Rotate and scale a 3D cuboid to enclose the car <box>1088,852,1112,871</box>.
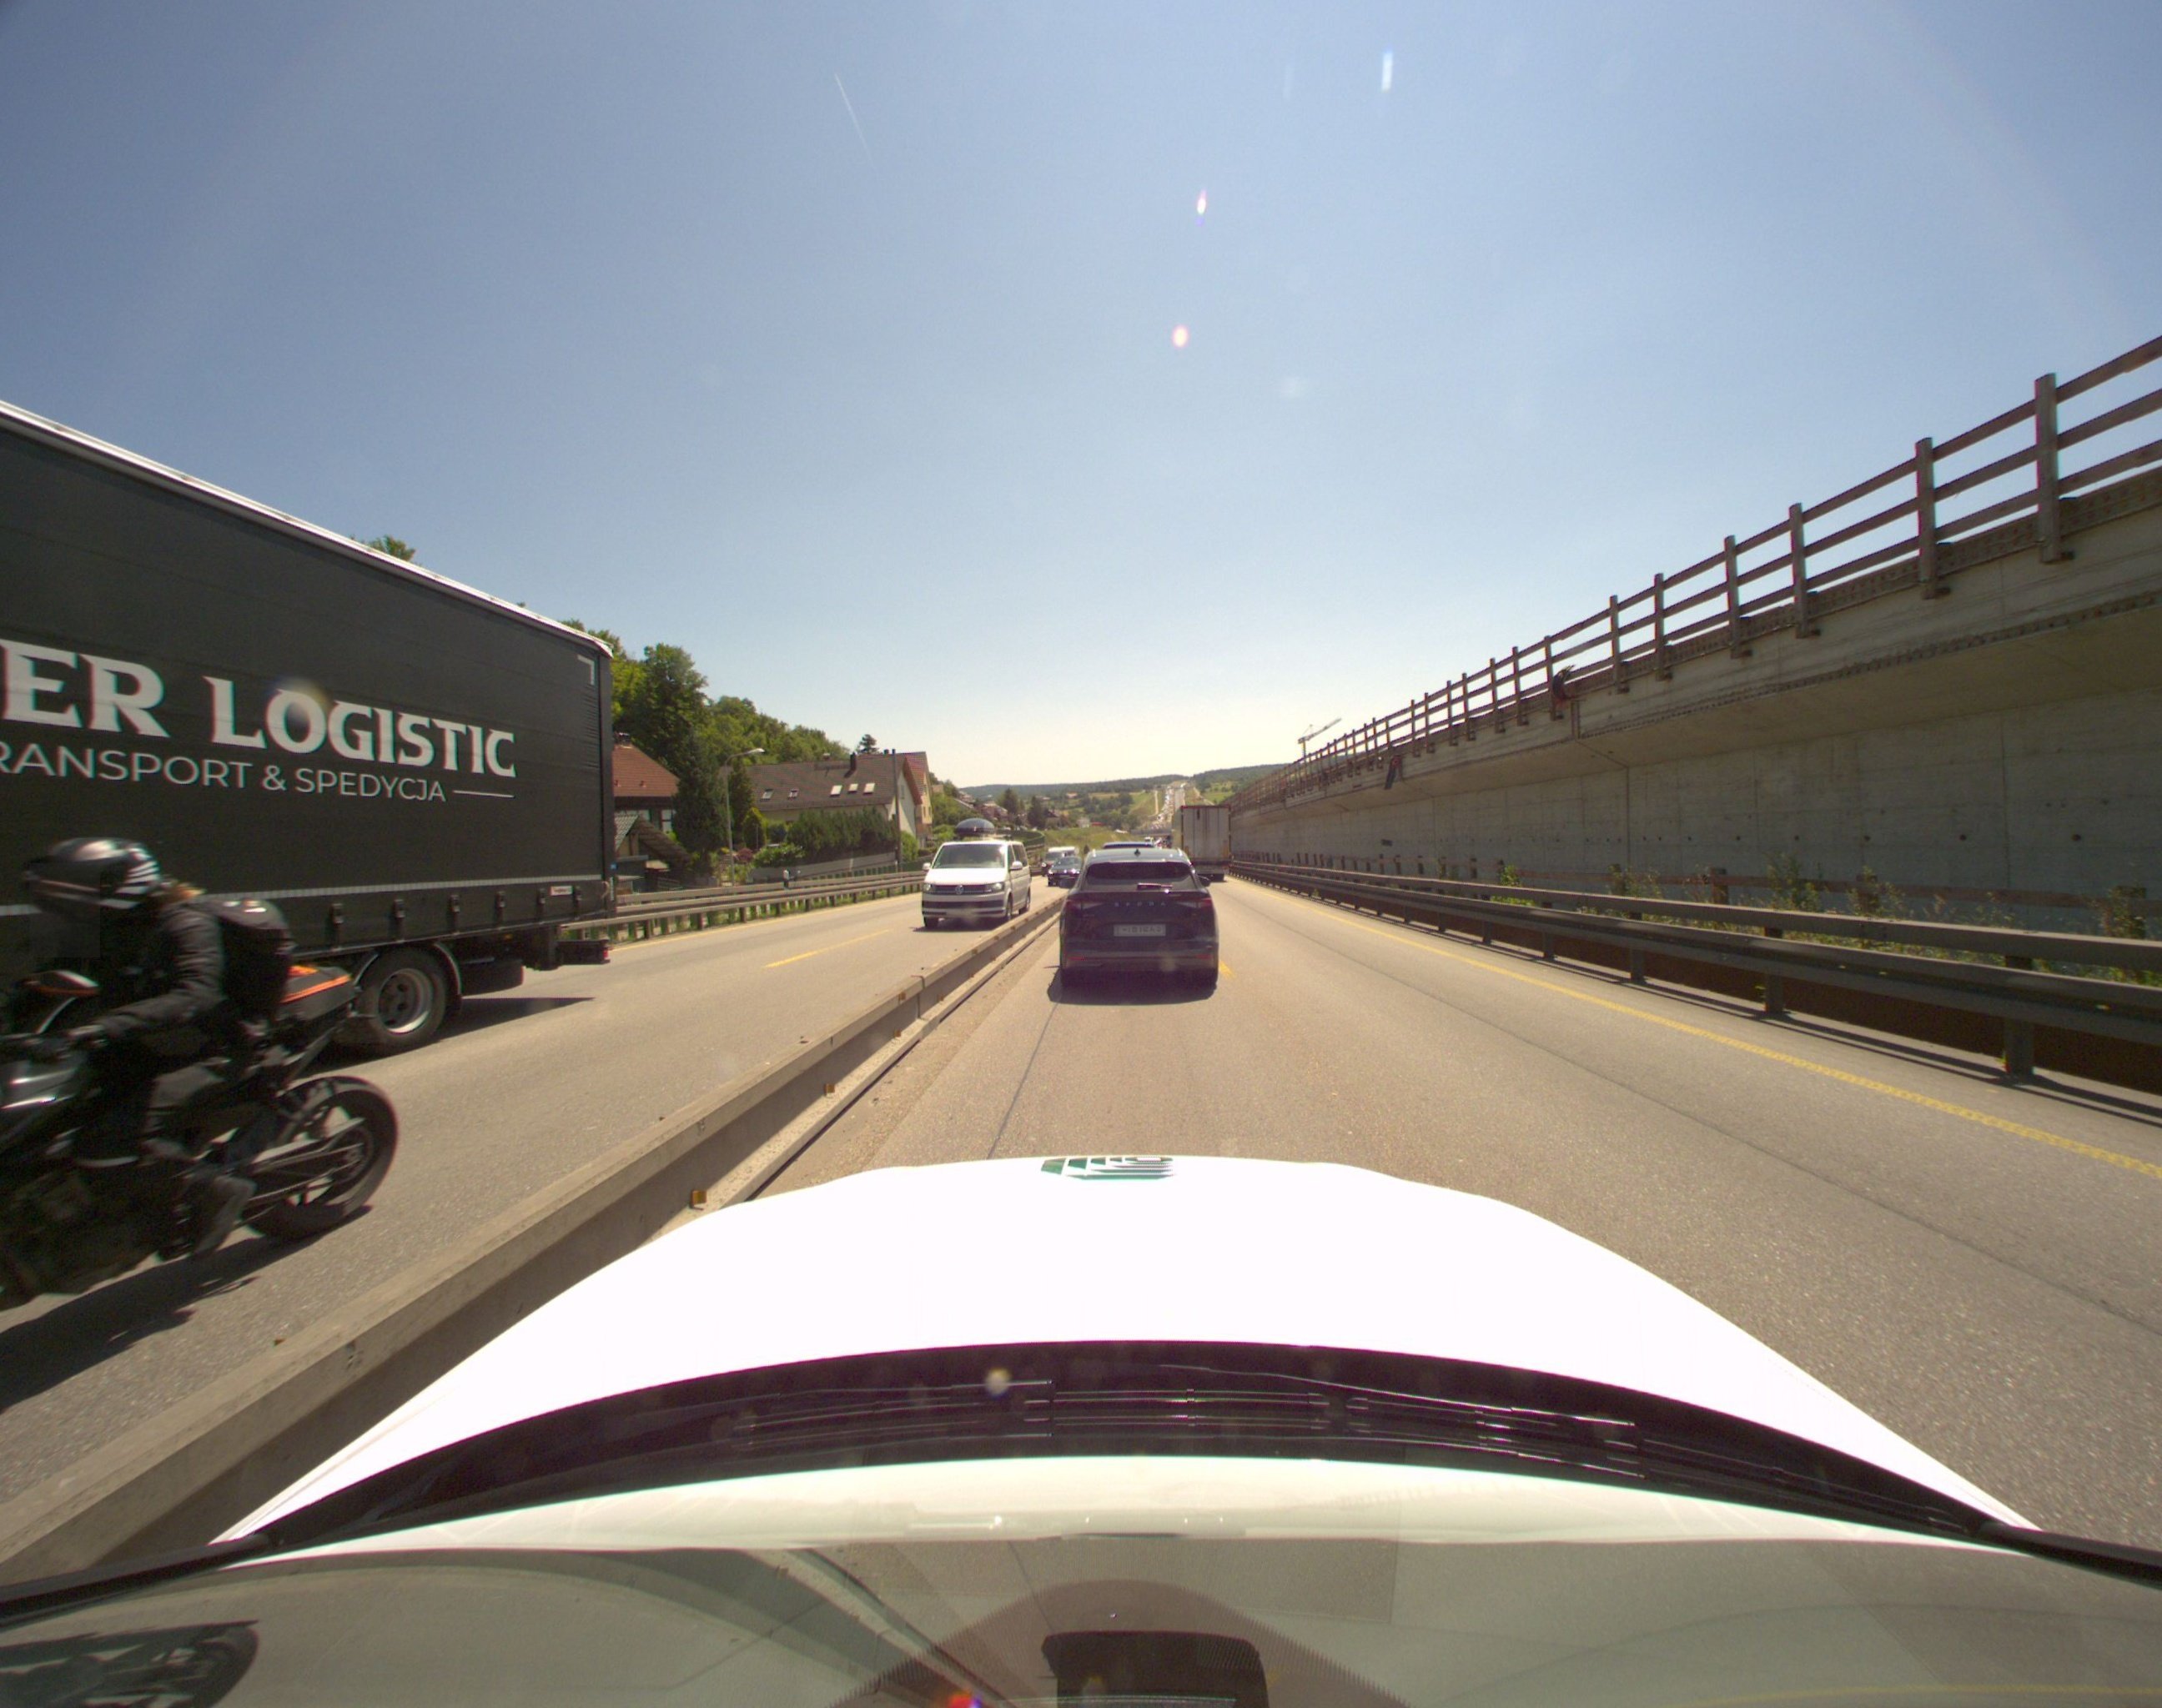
[{"bbox_3d":[1.624,0.650,69.052,1.864,1.586,4.483,-1,-1,3],"label":"car"}]

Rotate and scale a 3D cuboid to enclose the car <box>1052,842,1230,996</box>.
[{"bbox_3d":[0.561,0.712,10.498,1.838,1.586,3.903,-1,-1,-3],"label":"car"}]

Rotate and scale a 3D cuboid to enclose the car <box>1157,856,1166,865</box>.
[{"bbox_3d":[15.116,1.262,153.416,1.692,1.728,3.842,-1,-1,6],"label":"car"}]

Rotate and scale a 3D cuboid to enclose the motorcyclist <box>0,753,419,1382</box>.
[{"bbox_3d":[-3.204,0.634,2.904,0.850,1.855,0.984,-1,0,2],"label":"motorcyclist"}]

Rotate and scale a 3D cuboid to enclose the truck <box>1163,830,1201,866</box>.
[{"bbox_3d":[9.853,-0.486,80.732,3.180,3.191,12.824,-1,-1,5],"label":"truck"}]

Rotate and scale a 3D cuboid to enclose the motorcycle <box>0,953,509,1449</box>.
[{"bbox_3d":[-3.201,1.026,2.996,0.783,1.080,1.913,-1,0,2],"label":"motorcycle"}]

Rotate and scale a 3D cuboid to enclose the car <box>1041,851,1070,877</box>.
[{"bbox_3d":[-2.011,0.805,65.862,1.985,2.014,4.003,-1,-1,3],"label":"car"}]

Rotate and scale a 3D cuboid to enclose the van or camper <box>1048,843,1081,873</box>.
[{"bbox_3d":[-1.420,0.401,73.802,2.343,2.516,6.335,-1,-1,4],"label":"van or camper"}]

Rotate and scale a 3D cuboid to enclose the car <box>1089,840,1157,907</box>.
[{"bbox_3d":[1.213,0.547,25.076,1.703,1.881,3.996,-1,0,-3],"label":"car"}]

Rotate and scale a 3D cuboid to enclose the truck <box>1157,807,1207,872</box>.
[{"bbox_3d":[6.693,-0.845,54.925,2.504,4.025,8.239,-1,-1,2],"label":"truck"}]

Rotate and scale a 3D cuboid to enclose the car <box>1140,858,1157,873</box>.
[{"bbox_3d":[7.829,1.345,94.953,1.701,1.622,4.001,-1,0,1],"label":"car"}]

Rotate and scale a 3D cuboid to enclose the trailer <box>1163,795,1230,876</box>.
[{"bbox_3d":[6.520,-0.822,47.675,2.522,4.127,11.549,-1,-1,1],"label":"trailer"}]

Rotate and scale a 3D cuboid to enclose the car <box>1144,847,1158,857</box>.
[{"bbox_3d":[11.642,-0.268,135.747,1.986,1.585,3.838,-1,-1,2],"label":"car"}]

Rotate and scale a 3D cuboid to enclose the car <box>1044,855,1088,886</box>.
[{"bbox_3d":[-0.699,0.858,42.074,1.986,1.504,4.651,-1,-1,2],"label":"car"}]

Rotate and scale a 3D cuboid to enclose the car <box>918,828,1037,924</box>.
[{"bbox_3d":[-2.285,0.509,19.354,2.014,1.960,4.901,-1,-1,2],"label":"car"}]

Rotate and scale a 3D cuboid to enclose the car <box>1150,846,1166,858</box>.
[{"bbox_3d":[11.111,-0.267,117.529,1.986,1.585,3.838,-1,-1,2],"label":"car"}]

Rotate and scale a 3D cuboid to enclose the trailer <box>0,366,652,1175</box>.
[{"bbox_3d":[-6.741,-0.426,5.471,2.746,4.070,8.641,-1,0,3],"label":"trailer"}]
